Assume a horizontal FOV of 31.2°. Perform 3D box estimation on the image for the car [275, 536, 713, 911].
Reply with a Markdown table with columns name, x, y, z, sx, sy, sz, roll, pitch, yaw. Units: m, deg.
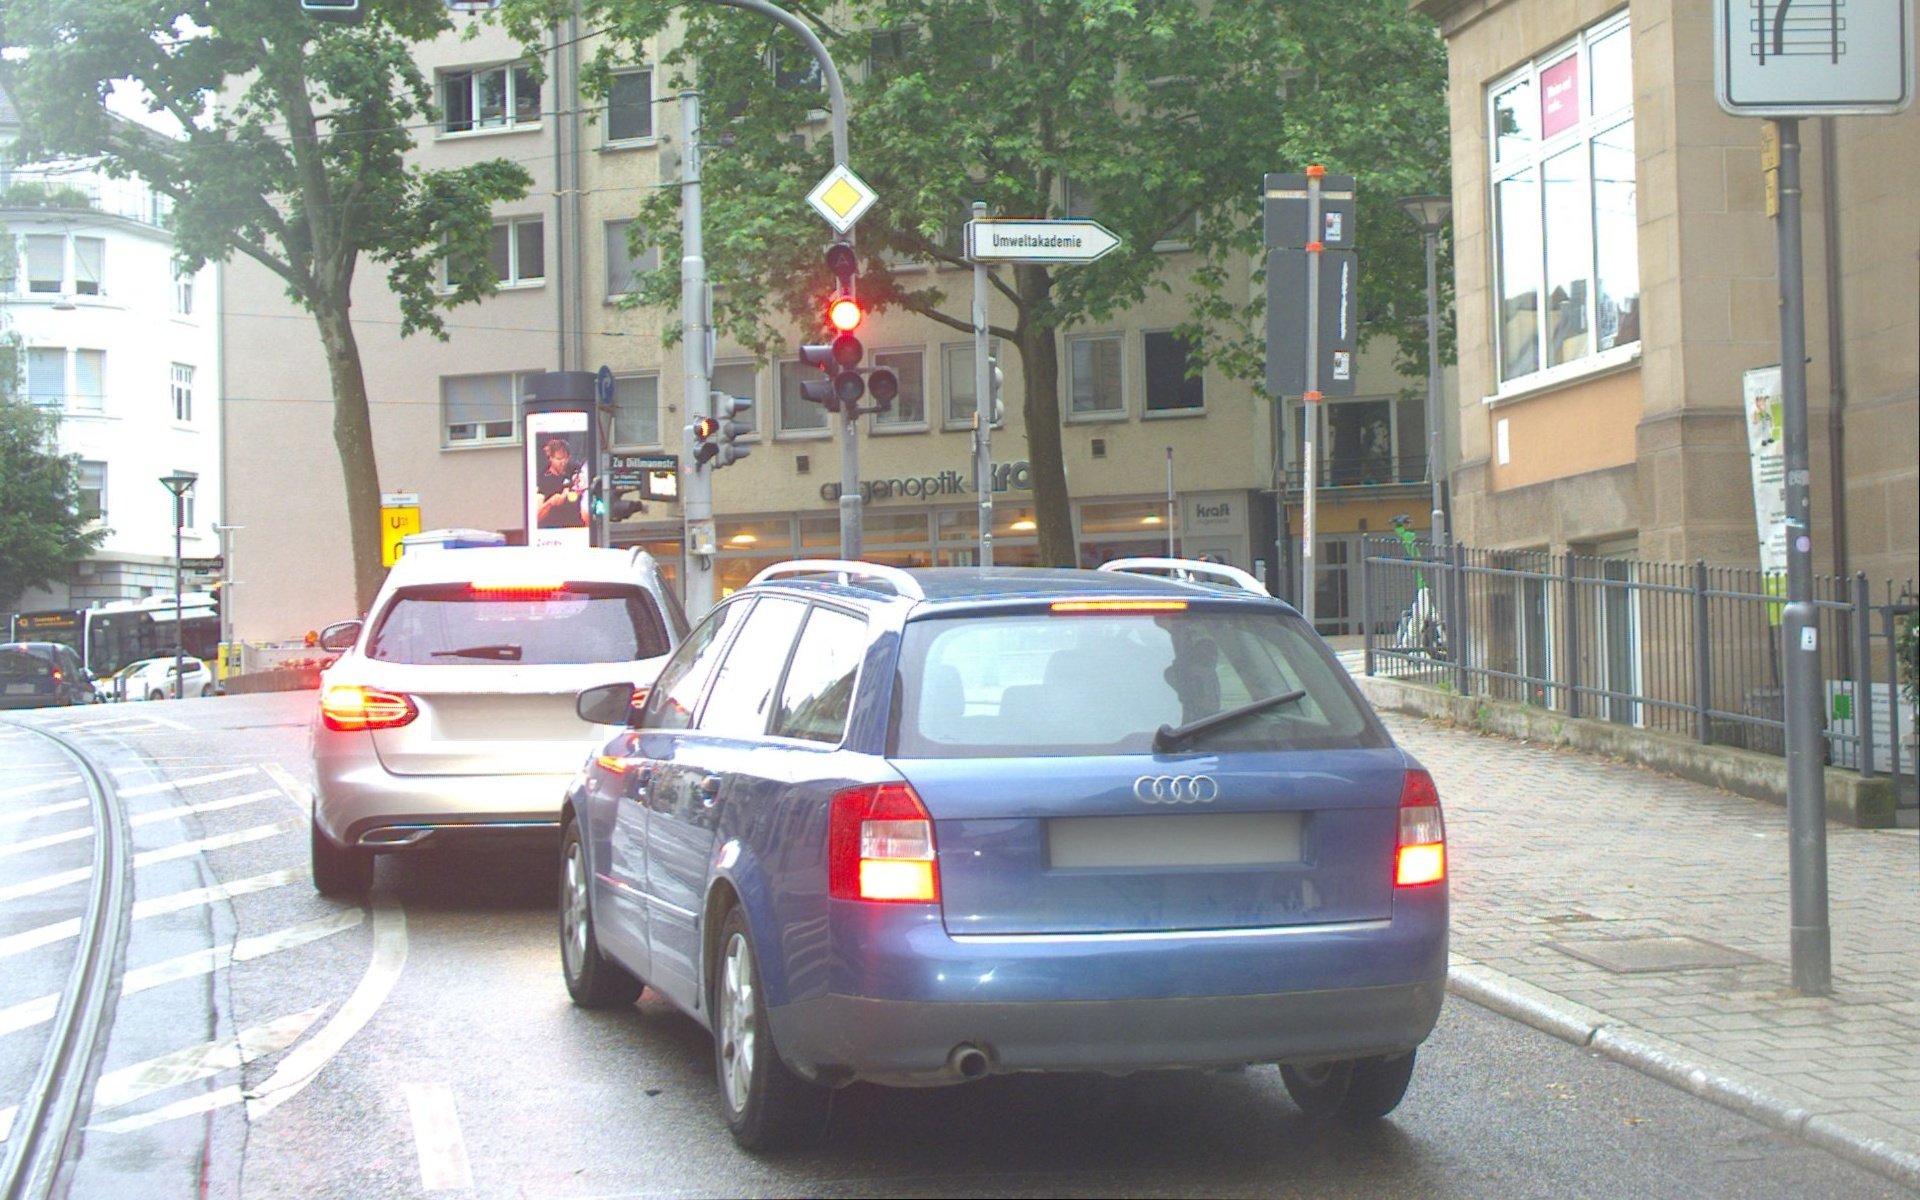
| name | x | y | z | sx | sy | sz | roll | pitch | yaw |
| --- | --- | --- | --- | --- | --- | --- | --- | --- | --- |
| car | -2.045 | 0.450 | 15.356 | 1.710 | 1.451 | 3.554 | 0 | 1 | -7 |

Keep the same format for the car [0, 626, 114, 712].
| name | x | y | z | sx | sy | sz | roll | pitch | yaw |
| --- | --- | --- | --- | --- | --- | --- | --- | --- | --- |
| car | -18.803 | 1.411 | 70.673 | 1.794 | 1.505 | 4.000 | -4 | 1 | -1 |

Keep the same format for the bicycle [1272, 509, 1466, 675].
| name | x | y | z | sx | sy | sz | roll | pitch | yaw |
| --- | --- | --- | --- | --- | --- | --- | --- | --- | --- |
| bicycle | 3.098 | -0.067 | 26.081 | 1.300 | 1.169 | 0.526 | -4 | 2 | -11 |

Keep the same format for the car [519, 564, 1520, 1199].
| name | x | y | z | sx | sy | sz | roll | pitch | yaw |
| --- | --- | --- | --- | --- | --- | --- | --- | --- | --- |
| car | -0.082 | 0.634 | 9.628 | 1.710 | 1.410 | 4.037 | 0 | 1 | -16 |

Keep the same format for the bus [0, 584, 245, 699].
| name | x | y | z | sx | sy | sz | roll | pitch | yaw |
| --- | --- | --- | --- | --- | --- | --- | --- | --- | --- |
| bus | -23.577 | 1.107 | 97.266 | 2.856 | 2.851 | 8.728 | -1 | 1 | 15 |

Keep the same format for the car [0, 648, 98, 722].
| name | x | y | z | sx | sy | sz | roll | pitch | yaw |
| --- | --- | --- | --- | --- | --- | --- | --- | --- | --- |
| car | -23.401 | 2.111 | 85.673 | 1.796 | 1.609 | 3.997 | -1 | 1 | 18 |

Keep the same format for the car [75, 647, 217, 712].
| name | x | y | z | sx | sy | sz | roll | pitch | yaw |
| --- | --- | --- | --- | --- | --- | --- | --- | --- | --- |
| car | -21.553 | 2.096 | 91.129 | 1.796 | 1.505 | 3.997 | -1 | 1 | 18 |
